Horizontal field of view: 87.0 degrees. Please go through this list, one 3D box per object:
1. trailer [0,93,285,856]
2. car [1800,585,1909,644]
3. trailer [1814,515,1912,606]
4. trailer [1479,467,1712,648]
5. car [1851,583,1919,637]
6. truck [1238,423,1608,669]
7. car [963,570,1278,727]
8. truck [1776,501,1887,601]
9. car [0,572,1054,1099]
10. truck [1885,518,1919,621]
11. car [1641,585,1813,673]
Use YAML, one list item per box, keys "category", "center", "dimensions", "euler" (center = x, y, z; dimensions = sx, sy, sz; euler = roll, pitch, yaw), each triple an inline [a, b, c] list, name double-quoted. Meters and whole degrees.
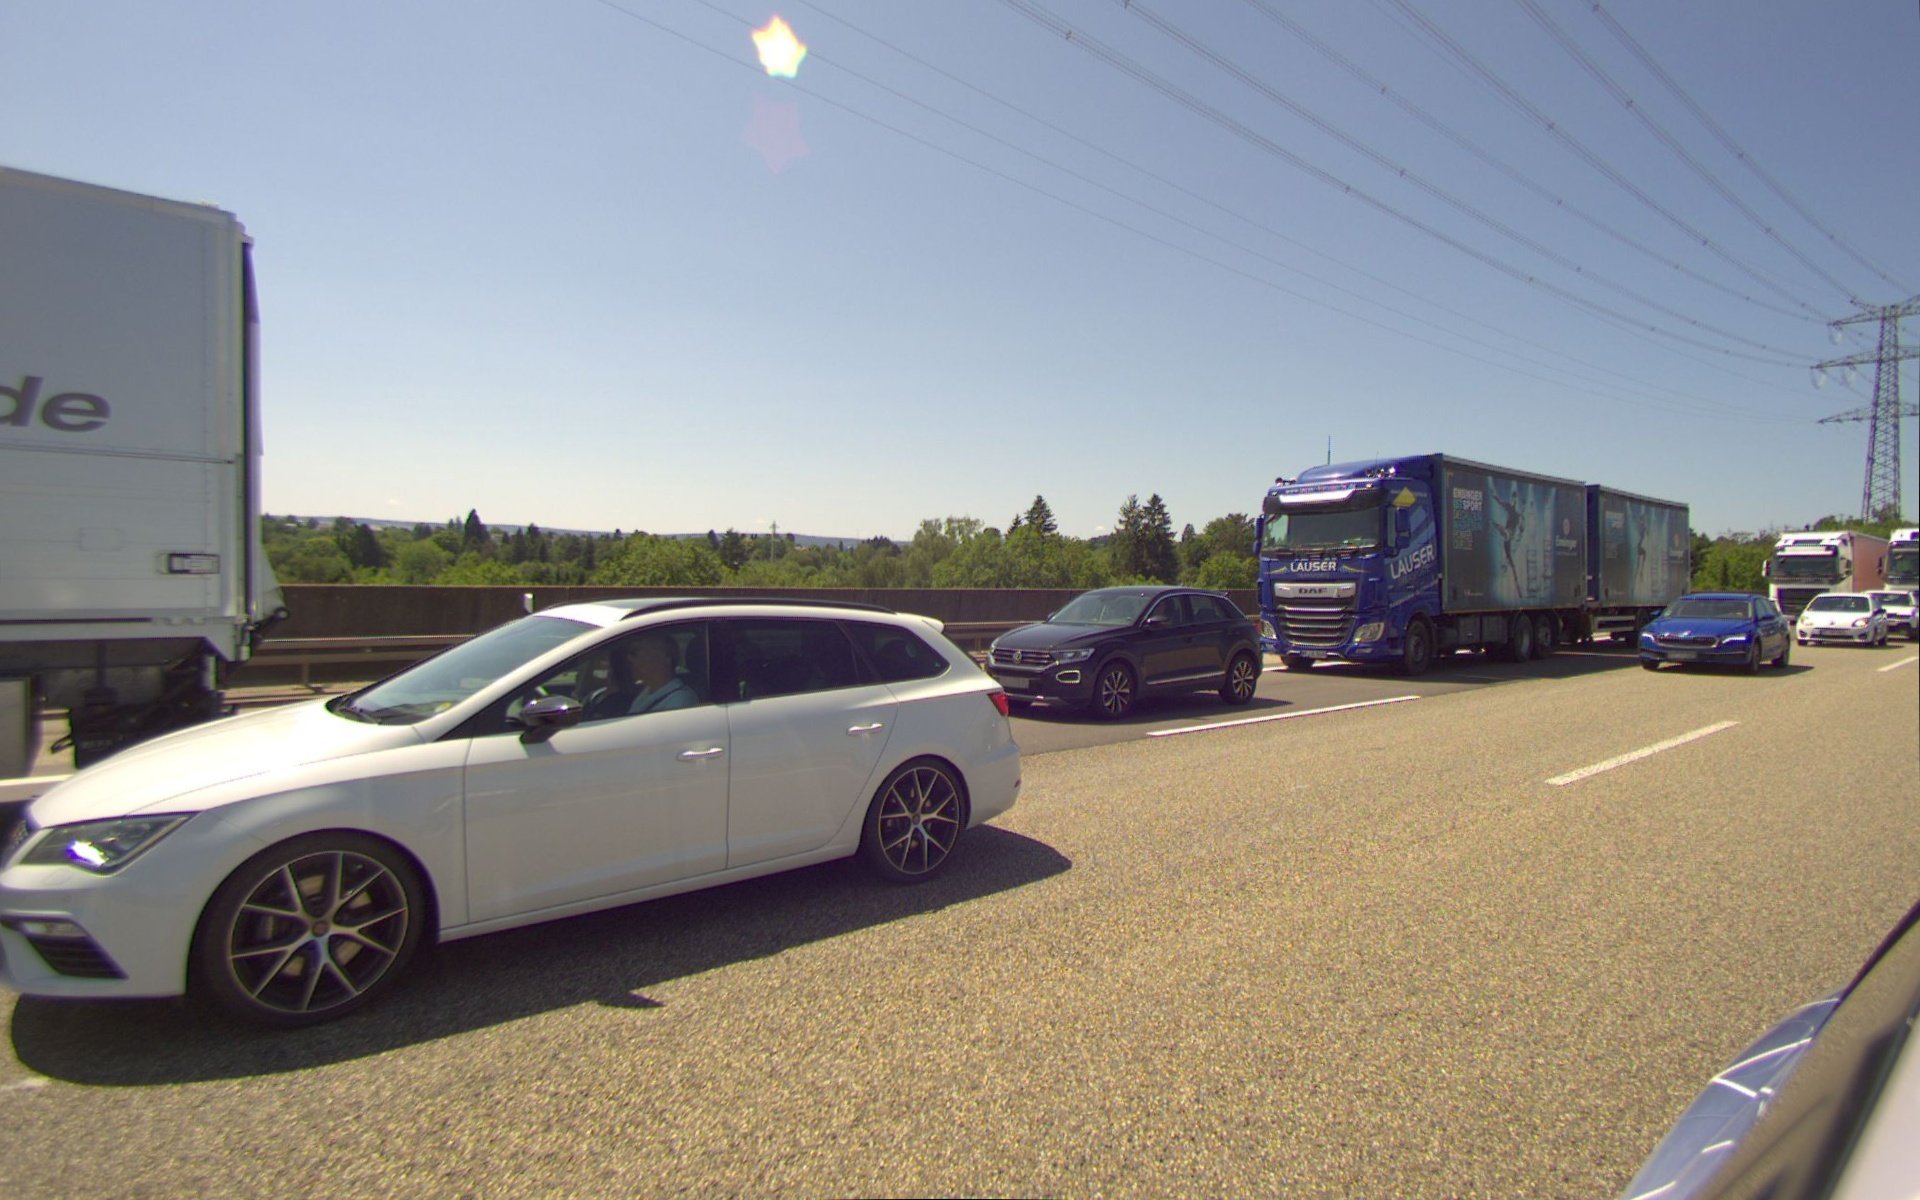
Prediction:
- category: "trailer"
  center: [-8.014, -0.606, 4.465]
  dimensions: [8.072, 3.940, 2.903]
  euler: [-1, 1, -41]
- category: "car"
  center: [24.812, 0.348, 28.032]
  dimensions: [4.071, 1.470, 1.712]
  euler: [-1, 1, -40]
- category: "trailer"
  center: [45.193, -1.889, 50.531]
  dimensions: [8.928, 4.169, 2.606]
  euler: [-1, 1, -41]
- category: "trailer"
  center: [17.109, -1.048, 26.937]
  dimensions: [8.486, 4.140, 2.833]
  euler: [-1, 1, -40]
- category: "car"
  center: [28.700, 0.265, 30.849]
  dimensions: [4.071, 1.528, 1.712]
  euler: [-1, 1, -40]
- category: "truck"
  center: [9.945, -0.966, 20.853]
  dimensions: [10.211, 3.999, 2.857]
  euler: [-1, 1, -40]
- category: "car"
  center: [2.131, 0.481, 12.783]
  dimensions: [4.045, 1.675, 1.712]
  euler: [-1, 1, -40]
- category: "truck"
  center: [38.726, -2.070, 44.859]
  dimensions: [8.122, 4.037, 2.606]
  euler: [-1, 1, -41]
- category: "car"
  center: [-1.661, 0.650, 4.874]
  dimensions: [4.352, 1.470, 1.711]
  euler: [0, 0, -41]
- category: "truck"
  center: [39.800, -1.222, 40.557]
  dimensions: [8.117, 3.874, 2.848]
  euler: [-1, 1, -39]
- category: "car"
  center: [14.859, 0.475, 19.522]
  dimensions: [4.483, 1.470, 1.712]
  euler: [-1, 1, -40]
